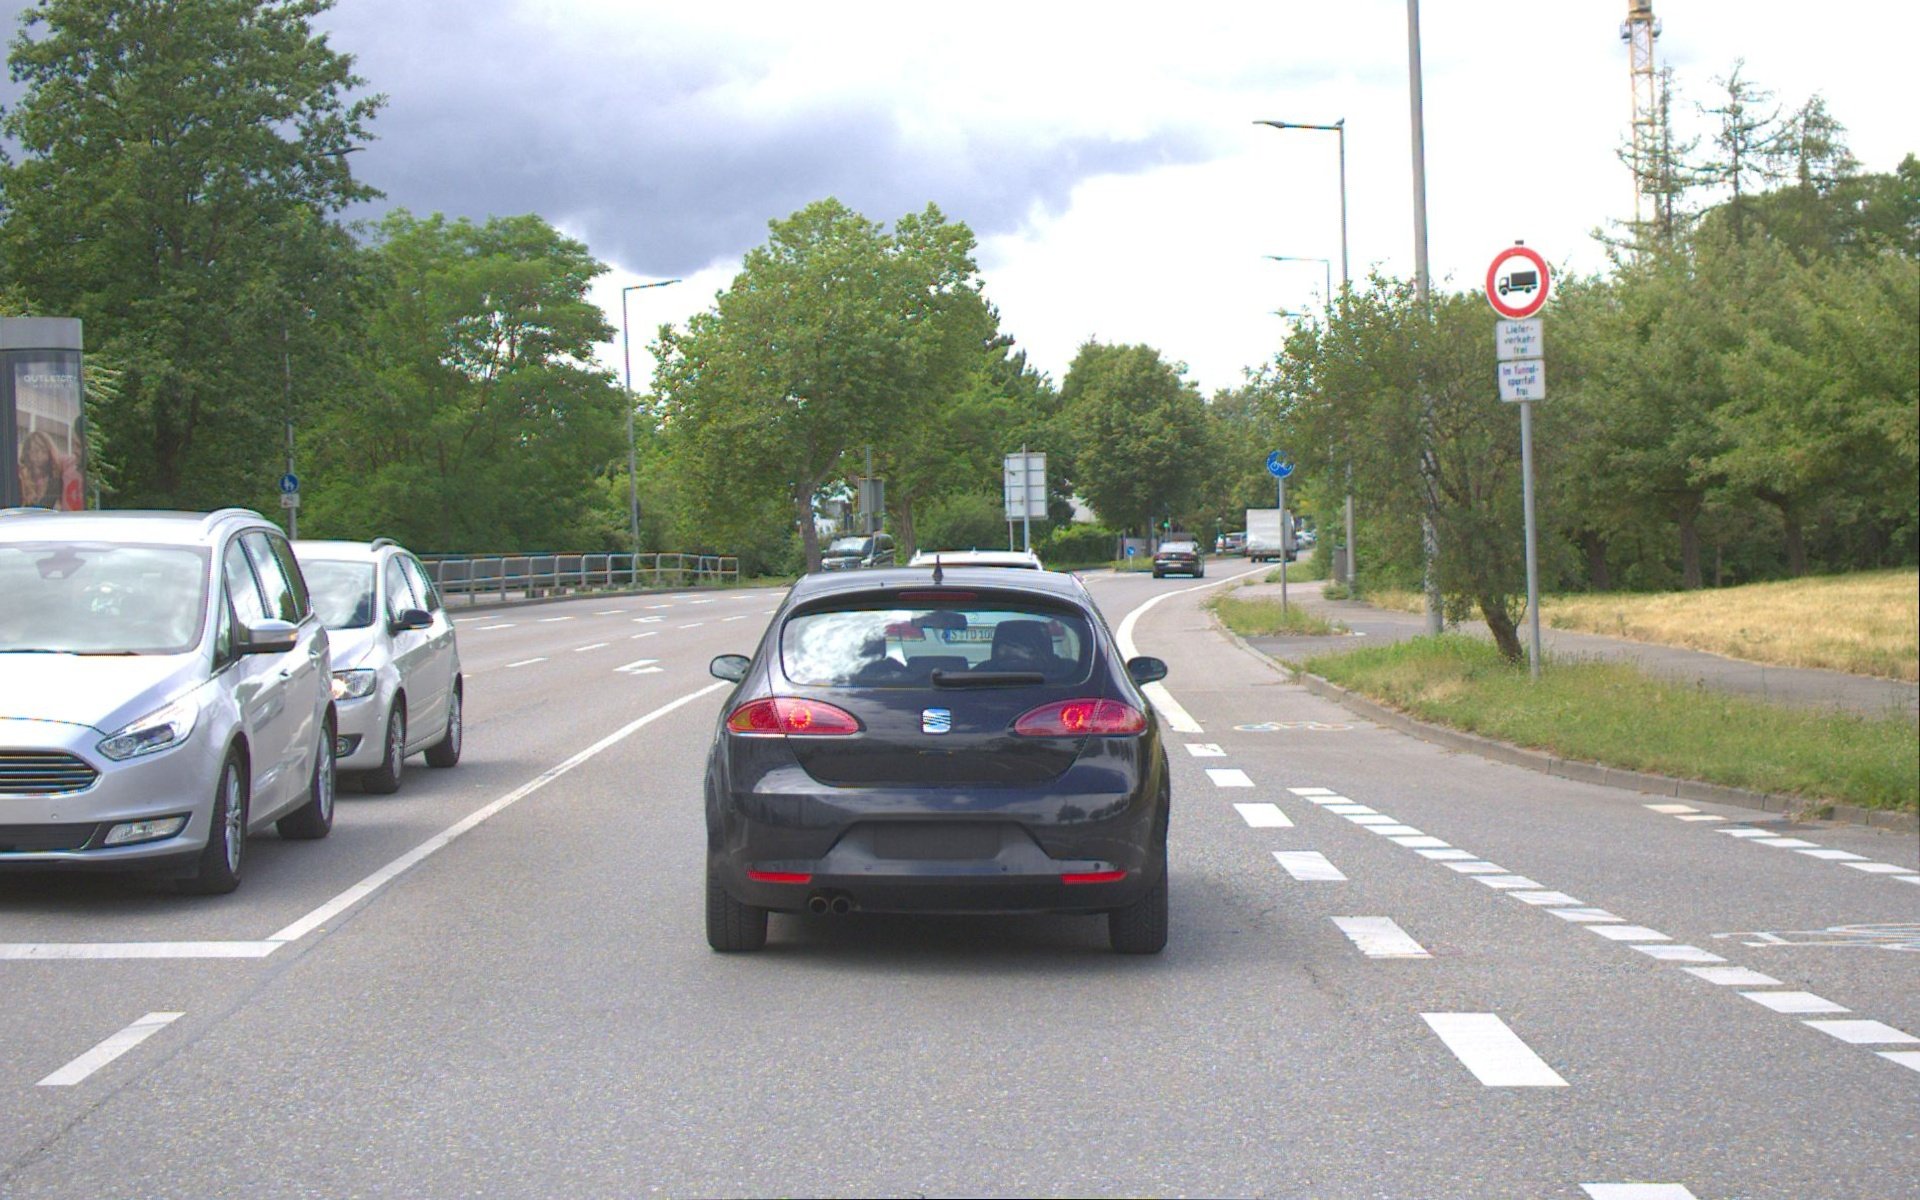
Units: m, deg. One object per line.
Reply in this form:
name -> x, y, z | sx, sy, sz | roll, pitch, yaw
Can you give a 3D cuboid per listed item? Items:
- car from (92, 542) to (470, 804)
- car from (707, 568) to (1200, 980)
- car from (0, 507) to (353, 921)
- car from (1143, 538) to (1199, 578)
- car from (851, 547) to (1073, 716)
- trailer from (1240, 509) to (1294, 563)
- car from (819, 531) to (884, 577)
car -> -4.290, 0.395, 22.290 | 1.660, 1.513, 4.084 | 0, 1, 0
car -> -0.146, 0.595, 13.755 | 1.711, 1.412, 3.460 | 0, 1, -4
car -> -4.104, 0.413, 16.310 | 1.820, 1.681, 4.646 | 1, 1, -3
car -> 8.293, -1.664, 135.068 | 1.994, 1.560, 4.470 | 0, 1, 6
car -> -0.042, 0.269, 31.990 | 1.834, 1.462, 3.751 | 1, 0, -3
trailer -> 17.774, -3.683, 198.695 | 2.492, 3.063, 5.584 | 1, 0, 11
car -> -3.819, -1.611, 121.804 | 1.715, 1.576, 3.741 | 1, 0, 8
